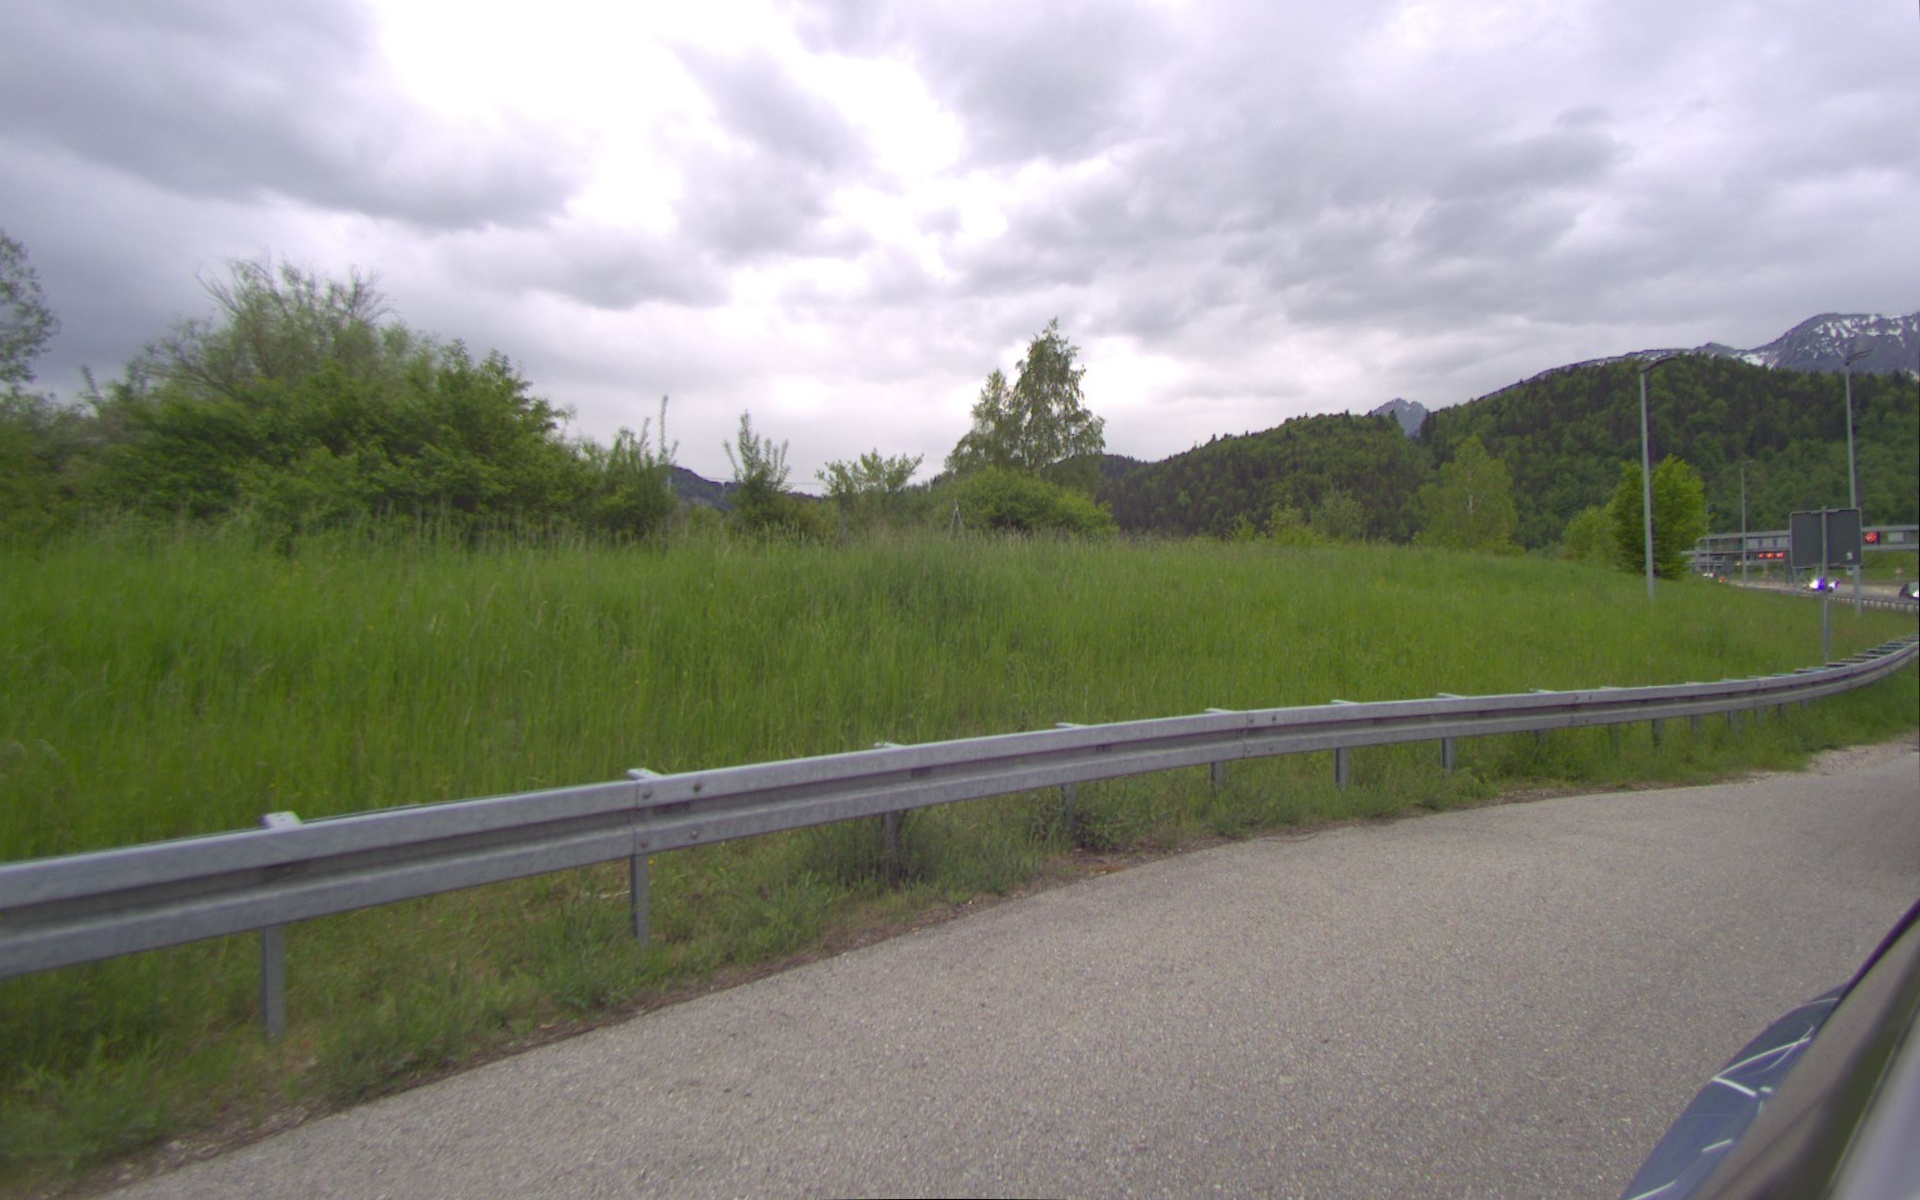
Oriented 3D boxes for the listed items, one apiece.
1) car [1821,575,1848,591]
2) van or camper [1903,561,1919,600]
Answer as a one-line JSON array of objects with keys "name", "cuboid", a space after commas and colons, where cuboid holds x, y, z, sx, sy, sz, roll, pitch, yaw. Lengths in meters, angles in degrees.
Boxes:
[{"name": "car", "cuboid": [94.010, -1.880, 108.784, 1.710, 1.659, 4.294, 1, 2, 35]}, {"name": "van or camper", "cuboid": [68.122, -1.360, 69.710, 3.321, 2.677, 8.102, 1, 2, 34]}]
